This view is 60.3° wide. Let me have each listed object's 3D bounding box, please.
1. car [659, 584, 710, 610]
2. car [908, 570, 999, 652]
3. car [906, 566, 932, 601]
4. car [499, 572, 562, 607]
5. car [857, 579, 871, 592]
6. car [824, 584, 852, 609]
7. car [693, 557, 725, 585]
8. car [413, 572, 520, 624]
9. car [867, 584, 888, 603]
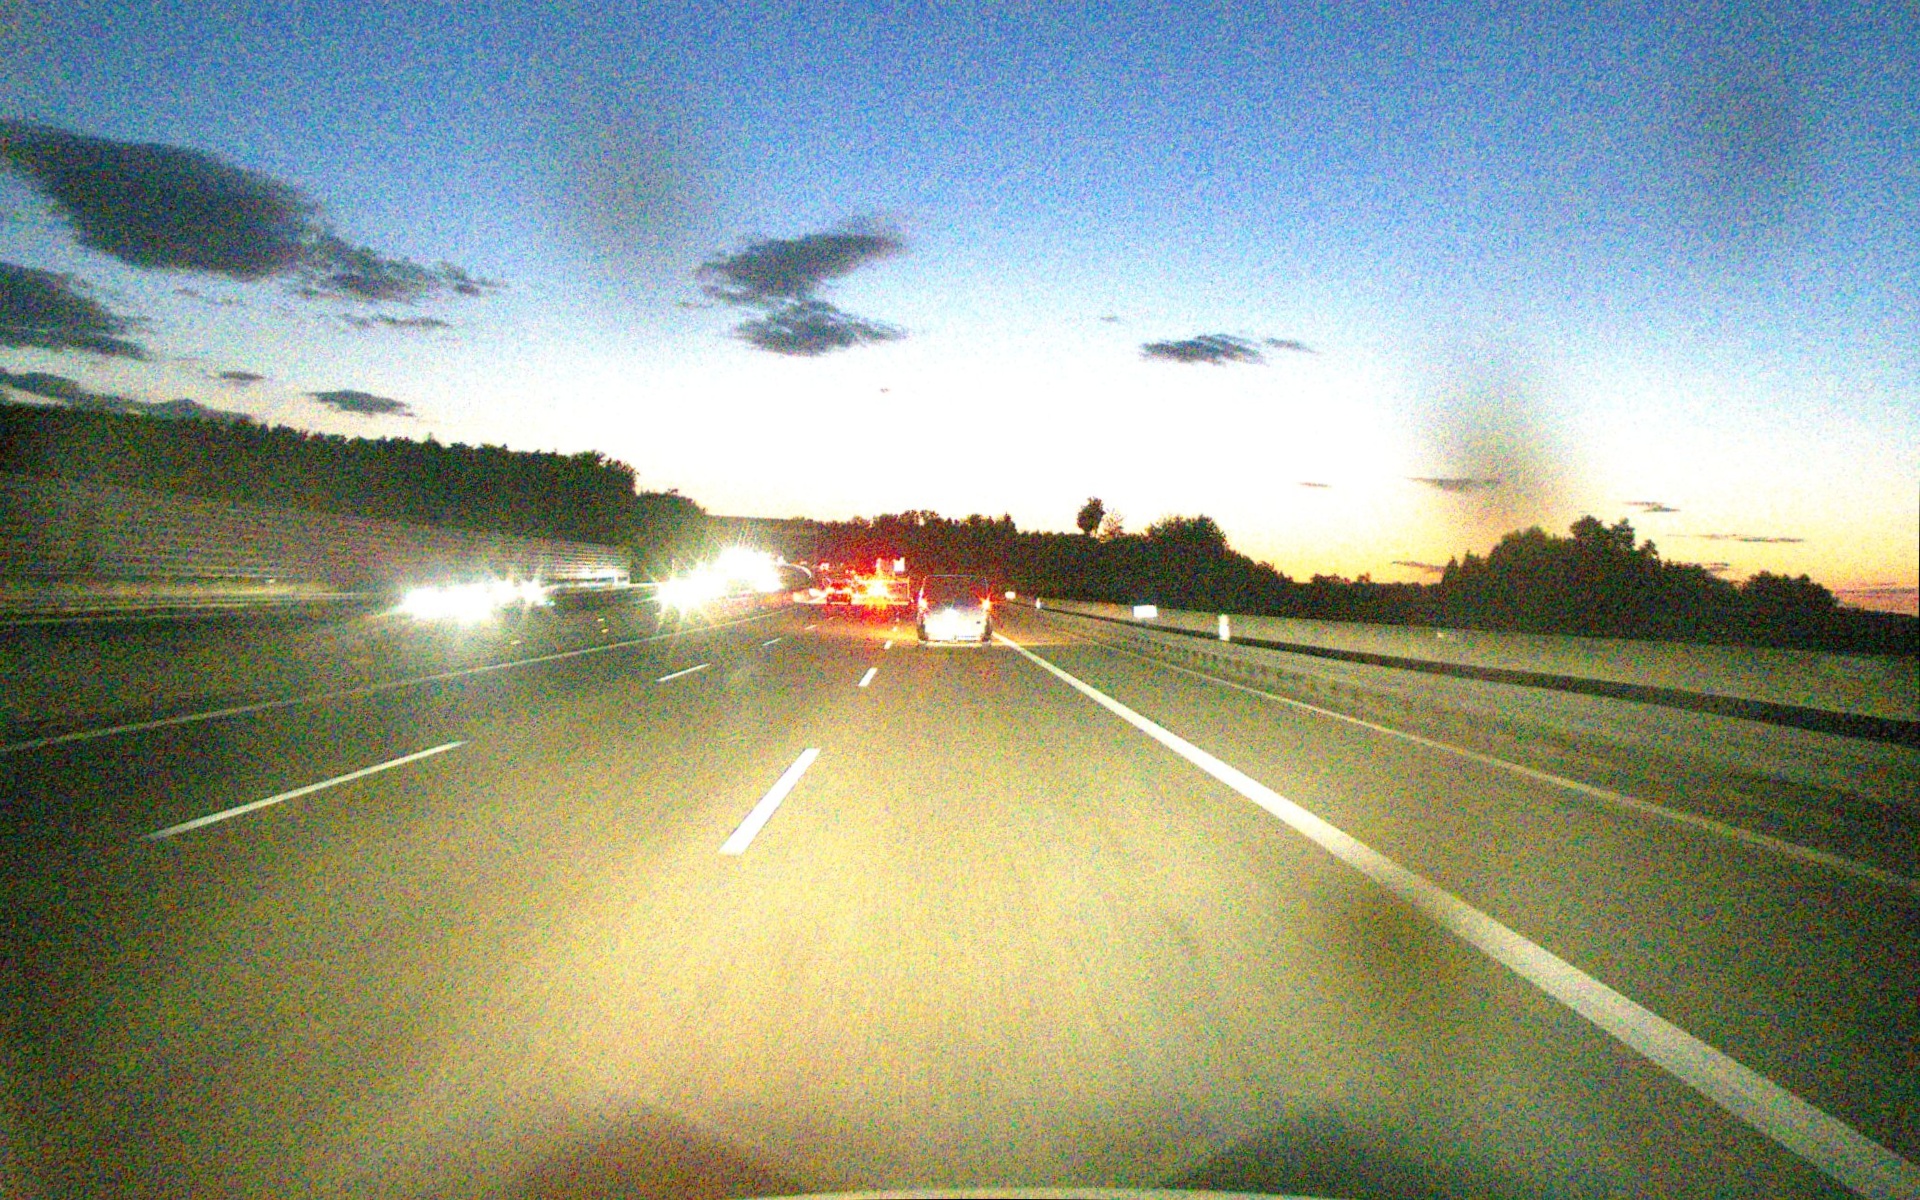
[{"bbox_3d":[-17.841,-0.190,107.402,2.507,1.583,5.107,1,0,-1],"label":"car"},{"bbox_3d":[-0.251,0.233,44.715,2.074,2.035,5.659,1,1,-4],"label":"car"},{"bbox_3d":[-3.279,-1.348,132.573,1.991,2.693,5.724,1,1,-1],"label":"car"},{"bbox_3d":[-23.706,-0.580,91.452,2.012,1.813,5.939,1,0,-1],"label":"car"},{"bbox_3d":[-13.860,-2.049,238.473,1.953,1.825,3.998,1,0,-2],"label":"car"},{"bbox_3d":[-9.250,-0.270,125.645,1.954,1.847,3.997,1,0,-3],"label":"car"},{"bbox_3d":[-29.161,-3.367,192.394,2.598,3.139,8.213,1,1,-1],"label":"car"},{"bbox_3d":[-16.136,-0.071,54.356,2.076,1.583,5.107,1,0,-1],"label":"car"},{"bbox_3d":[-8.048,-0.616,161.229,1.954,1.825,3.998,1,0,-3],"label":"car"}]
